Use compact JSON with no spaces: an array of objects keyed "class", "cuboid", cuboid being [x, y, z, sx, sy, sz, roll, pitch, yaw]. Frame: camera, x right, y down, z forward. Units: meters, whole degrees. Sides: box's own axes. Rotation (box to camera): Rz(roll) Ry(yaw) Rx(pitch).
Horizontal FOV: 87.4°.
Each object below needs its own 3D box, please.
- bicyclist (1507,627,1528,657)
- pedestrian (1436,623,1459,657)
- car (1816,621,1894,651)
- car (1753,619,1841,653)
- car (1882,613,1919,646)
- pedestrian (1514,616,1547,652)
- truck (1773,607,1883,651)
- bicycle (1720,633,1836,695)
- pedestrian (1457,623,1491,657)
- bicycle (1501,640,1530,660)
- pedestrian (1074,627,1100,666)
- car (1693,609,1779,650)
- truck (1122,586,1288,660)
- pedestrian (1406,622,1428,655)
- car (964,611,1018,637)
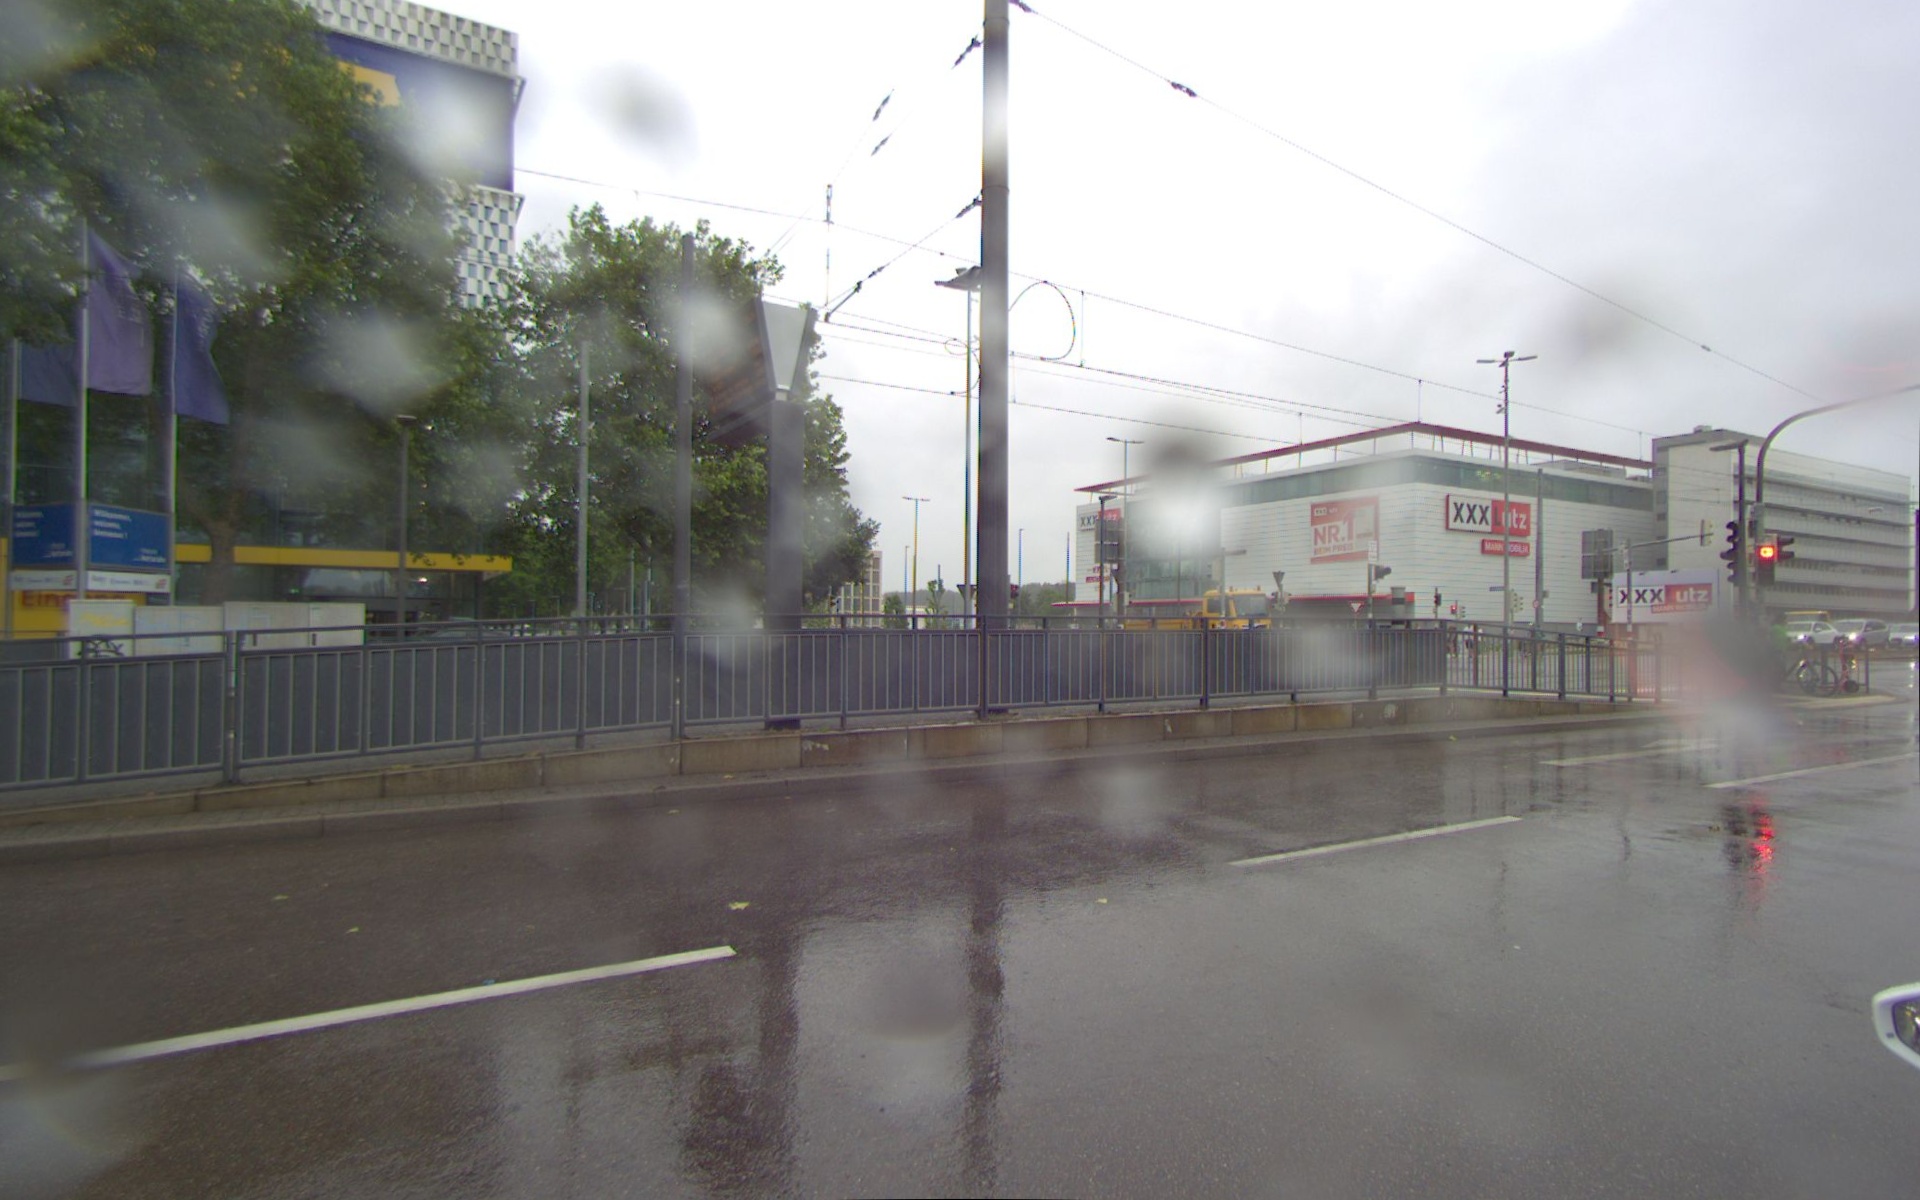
[{"class":"bicyclist","cuboid":[28.299,2.121,50.982,0.639,1.483,0.681,2,0,-29]},{"class":"pedestrian","cuboid":[24.269,1.972,50.025,0.914,1.654,0.694,2,0,-42]},{"class":"car","cuboid":[44.942,1.801,50.442,3.780,1.354,1.582,2,0,-26]},{"class":"car","cuboid":[39.727,1.698,47.670,3.823,1.512,1.693,2,0,-25]},{"class":"car","cuboid":[51.394,1.607,53.616,3.947,1.722,1.886,2,0,-26]},{"class":"pedestrian","cuboid":[27.407,1.631,48.237,0.996,1.654,0.917,2,0,-19]},{"class":"truck","cuboid":[49.479,1.656,57.225,7.542,2.309,2.341,2,0,-30]},{"class":"bicycle","cuboid":[16.641,1.282,20.476,0.409,1.048,1.742,2,3,-31]},{"class":"pedestrian","cuboid":[25.535,1.976,49.953,1.069,1.654,1.021,2,0,-21]},{"class":"bicycle","cuboid":[28.219,2.553,51.000,1.688,1.000,0.448,2,0,-30]},{"class":"pedestrian","cuboid":[5.204,1.904,41.014,0.863,1.557,0.560,2,0,-31]},{"class":"car","cuboid":[40.403,1.535,52.297,3.947,2.040,1.987,2,0,-26]},{"class":"truck","cuboid":[10.284,0.911,42.919,2.612,2.853,7.084,2,0,-31]},{"class":"pedestrian","cuboid":[23.296,1.953,51.227,0.914,1.654,0.694,2,0,-42]},{"class":"car","cuboid":[2.177,1.668,70.212,3.723,1.645,2.001,2,0,2]}]
